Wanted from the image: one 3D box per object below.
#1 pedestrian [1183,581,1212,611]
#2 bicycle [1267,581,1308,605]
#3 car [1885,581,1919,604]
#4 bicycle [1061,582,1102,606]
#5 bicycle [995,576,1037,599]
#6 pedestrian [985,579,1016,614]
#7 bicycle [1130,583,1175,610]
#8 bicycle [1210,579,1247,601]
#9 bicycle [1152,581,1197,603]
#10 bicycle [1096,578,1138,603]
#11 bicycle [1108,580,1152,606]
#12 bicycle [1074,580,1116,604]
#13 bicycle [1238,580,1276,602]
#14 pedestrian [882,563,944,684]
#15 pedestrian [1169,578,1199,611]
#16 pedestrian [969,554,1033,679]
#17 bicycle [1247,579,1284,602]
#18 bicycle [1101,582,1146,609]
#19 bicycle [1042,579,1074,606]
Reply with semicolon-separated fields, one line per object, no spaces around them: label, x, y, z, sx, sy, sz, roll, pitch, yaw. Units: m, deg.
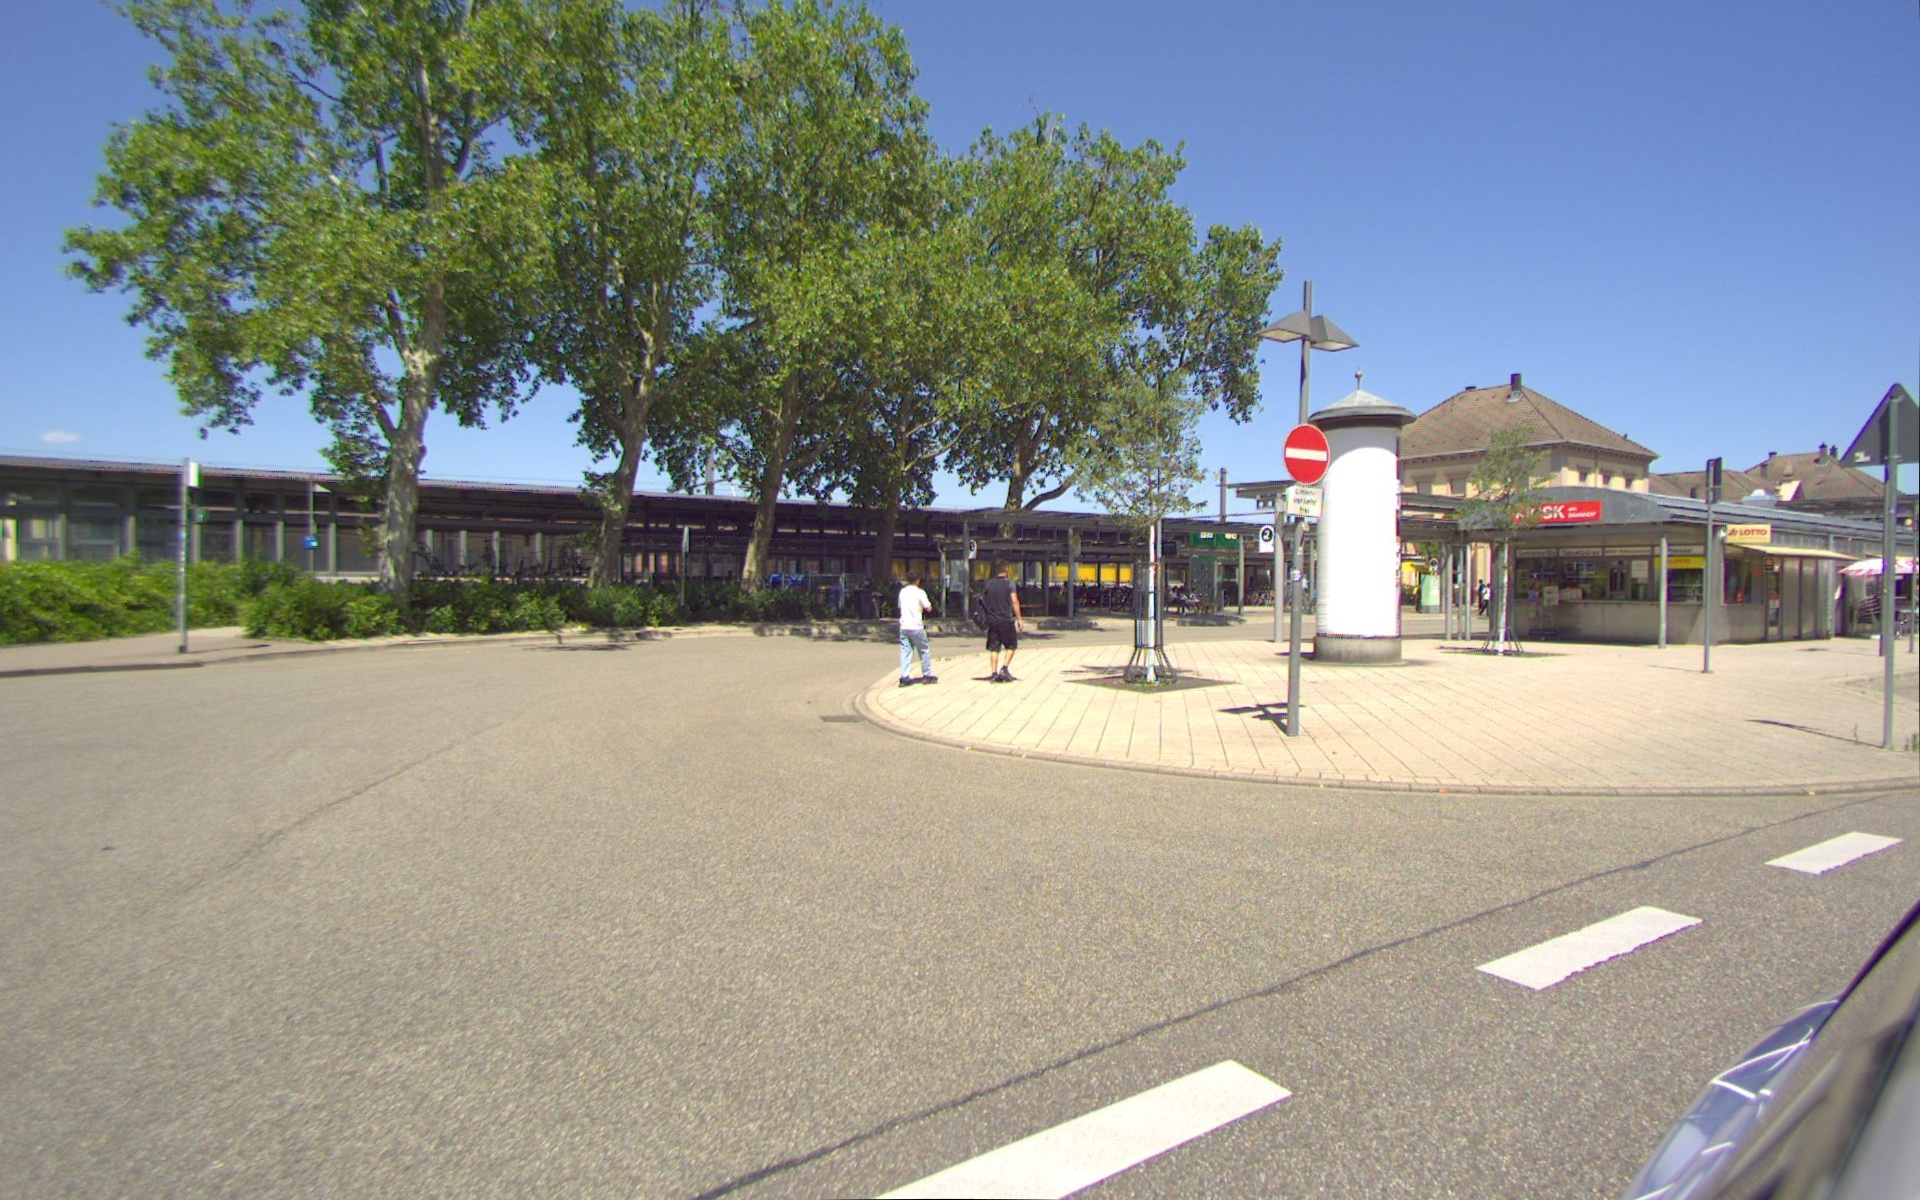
pedestrian;10.407;-0.178;44.319;0.814;1.321;0.964;0;1;-32
bicycle;16.768;-0.366;51.835;0.657;1.086;2.173;-4;5;-28
car;79.425;-0.638;84.713;3.922;1.903;2.001;-1;1;-32
bicycle;6.392;-0.338;53.066;2.127;1.086;0.671;-4;4;-29
bicycle;2.782;-0.627;50.494;2.163;1.086;0.660;2;5;45
pedestrian;1.519;-0.136;38.450;0.852;1.291;0.831;0;1;-36
bicycle;8.778;-0.164;46.178;0.658;1.086;2.170;-4;5;-35
bicycle;15.078;-0.582;56.876;0.657;1.086;2.173;-4;5;-28
bicycle;11.190;-0.435;52.943;2.160;1.086;0.851;2;5;40
bicycle;7.849;-0.484;50.560;2.127;1.086;0.671;-4;4;-29
bicycle;8.344;-0.355;49.644;2.127;1.086;0.671;-4;4;-29
bicycle;6.955;-0.430;52.002;2.127;1.086;0.671;-4;4;-29
bicycle;16.371;-0.508;55.785;2.127;1.086;0.671;-4;4;-29
pedestrian;-0.709;0.334;15.083;0.897;1.758;0.676;0;0;-4
pedestrian;9.695;-0.240;43.792;0.814;1.403;0.964;0;1;-32
pedestrian;0.595;0.229;15.028;0.897;1.807;0.695;0;0;-2
bicycle;16.651;-0.539;55.118;2.127;1.086;0.671;-4;4;-29
bicycle;7.285;-0.223;45.273;0.658;1.086;2.170;-4;5;-35
bicycle;4.550;-0.341;46.911;0.664;1.086;2.149;0;5;29
